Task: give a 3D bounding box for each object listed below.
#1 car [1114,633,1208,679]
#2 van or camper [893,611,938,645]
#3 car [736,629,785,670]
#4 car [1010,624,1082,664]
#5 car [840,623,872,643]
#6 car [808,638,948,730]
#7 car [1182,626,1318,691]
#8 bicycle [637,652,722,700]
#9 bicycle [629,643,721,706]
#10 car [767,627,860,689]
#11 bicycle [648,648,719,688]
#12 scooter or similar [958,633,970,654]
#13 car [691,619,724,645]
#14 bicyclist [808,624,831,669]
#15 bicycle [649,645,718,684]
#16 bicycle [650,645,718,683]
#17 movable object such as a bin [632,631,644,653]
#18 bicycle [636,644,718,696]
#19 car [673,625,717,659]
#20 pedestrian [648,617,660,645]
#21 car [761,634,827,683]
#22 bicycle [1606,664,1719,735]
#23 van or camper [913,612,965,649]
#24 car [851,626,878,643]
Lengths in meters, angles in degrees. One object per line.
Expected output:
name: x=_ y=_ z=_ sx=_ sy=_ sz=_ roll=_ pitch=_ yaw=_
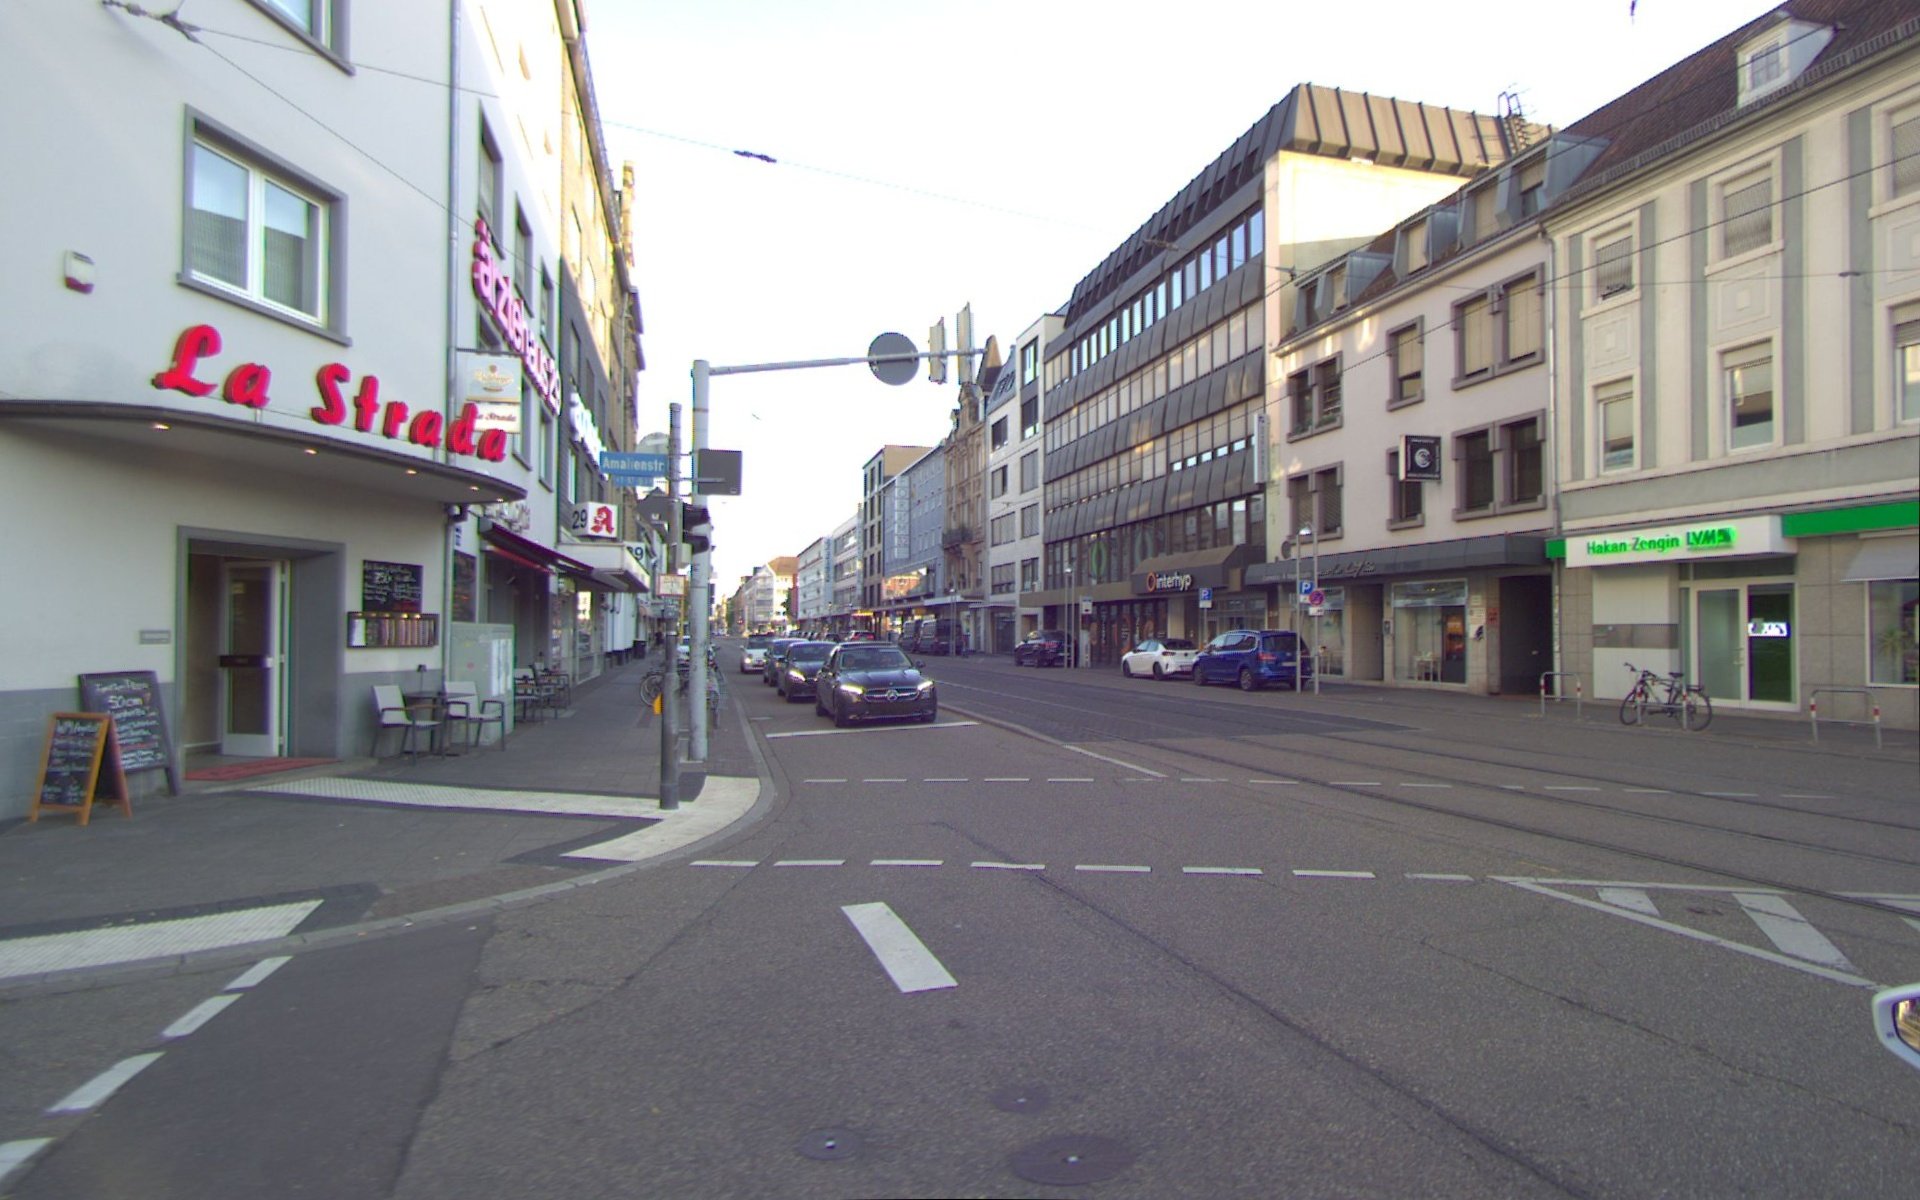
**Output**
car: x=7.133 y=1.958 z=36.076 sx=1.742 sy=1.505 sz=3.860 roll=-1 pitch=-1 yaw=-16
van or camper: x=-3.433 y=2.094 z=76.430 sx=2.160 sy=2.458 sz=5.499 roll=-1 pitch=-1 yaw=-16
car: x=-8.129 y=1.970 z=40.787 sx=1.645 sy=1.525 sz=3.669 roll=-1 pitch=-1 yaw=-16
car: x=4.010 y=2.036 z=47.843 sx=1.957 sy=1.757 sz=4.657 roll=-1 pitch=-1 yaw=-14
car: x=-8.416 y=2.637 z=80.860 sx=1.917 sy=1.565 sz=4.532 roll=2 pitch=-2 yaw=-14
car: x=-1.700 y=1.491 z=19.154 sx=1.889 sy=1.405 sz=4.550 roll=-1 pitch=-1 yaw=-15
car: x=8.654 y=1.689 z=30.460 sx=1.889 sy=1.740 sz=4.550 roll=-1 pitch=-1 yaw=-15
bicycle: x=-6.505 y=1.761 z=23.345 sx=1.832 sy=0.996 sz=0.605 roll=4 pitch=-2 yaw=-15
bicycle: x=-6.202 y=1.619 z=21.929 sx=1.832 sy=1.242 sz=0.605 roll=4 pitch=-2 yaw=-15
car: x=-3.902 y=1.435 z=26.138 sx=1.889 sy=1.405 sz=4.550 roll=-1 pitch=-1 yaw=-15
bicycle: x=-7.740 y=1.898 z=28.140 sx=1.832 sy=0.996 sz=0.491 roll=4 pitch=-2 yaw=-15
scooter or similar: x=0.252 y=2.676 z=62.307 sx=0.348 sy=1.240 sz=1.116 roll=-1 pitch=-1 yaw=17
car: x=-14.912 y=1.874 z=59.273 sx=1.711 sy=1.407 sz=3.853 roll=4 pitch=-2 yaw=-14
bicyclist: x=-5.039 y=1.673 z=35.963 sx=0.684 sy=1.586 sz=0.796 roll=1 pitch=-1 yaw=-17
bicycle: x=-7.929 y=1.860 z=28.870 sx=1.832 sy=0.996 sz=0.461 roll=4 pitch=-2 yaw=-15
bicycle: x=-8.065 y=1.862 z=29.365 sx=1.832 sy=0.996 sz=0.461 roll=4 pitch=-2 yaw=-15
movable object such as a bin: x=-17.451 y=2.280 z=54.498 sx=0.582 sy=1.146 sz=0.726 roll=1 pitch=-1 yaw=-15
bicycle: x=-6.945 y=1.721 z=24.694 sx=1.832 sy=1.149 sz=0.605 roll=4 pitch=-2 yaw=-15
car: x=-12.515 y=1.943 z=47.279 sx=1.737 sy=1.407 sz=4.258 roll=4 pitch=-2 yaw=-17
pedestrian: x=-19.841 y=1.994 z=65.060 sx=0.639 sy=1.796 sz=0.852 roll=3 pitch=-2 yaw=-15
car: x=-5.427 y=1.847 z=32.517 sx=1.734 sy=1.405 sz=4.049 roll=-1 pitch=-1 yaw=-15
bicycle: x=12.231 y=1.709 z=17.537 sx=0.471 sy=1.104 sz=1.641 roll=-1 pitch=-1 yaw=-18
van or camper: x=-1.518 y=2.118 z=70.205 sx=2.159 sy=2.458 sz=6.113 roll=-1 pitch=-1 yaw=-15
car: x=-9.355 y=3.335 z=98.144 sx=1.917 sy=1.565 sz=4.532 roll=-1 pitch=-1 yaw=-14
